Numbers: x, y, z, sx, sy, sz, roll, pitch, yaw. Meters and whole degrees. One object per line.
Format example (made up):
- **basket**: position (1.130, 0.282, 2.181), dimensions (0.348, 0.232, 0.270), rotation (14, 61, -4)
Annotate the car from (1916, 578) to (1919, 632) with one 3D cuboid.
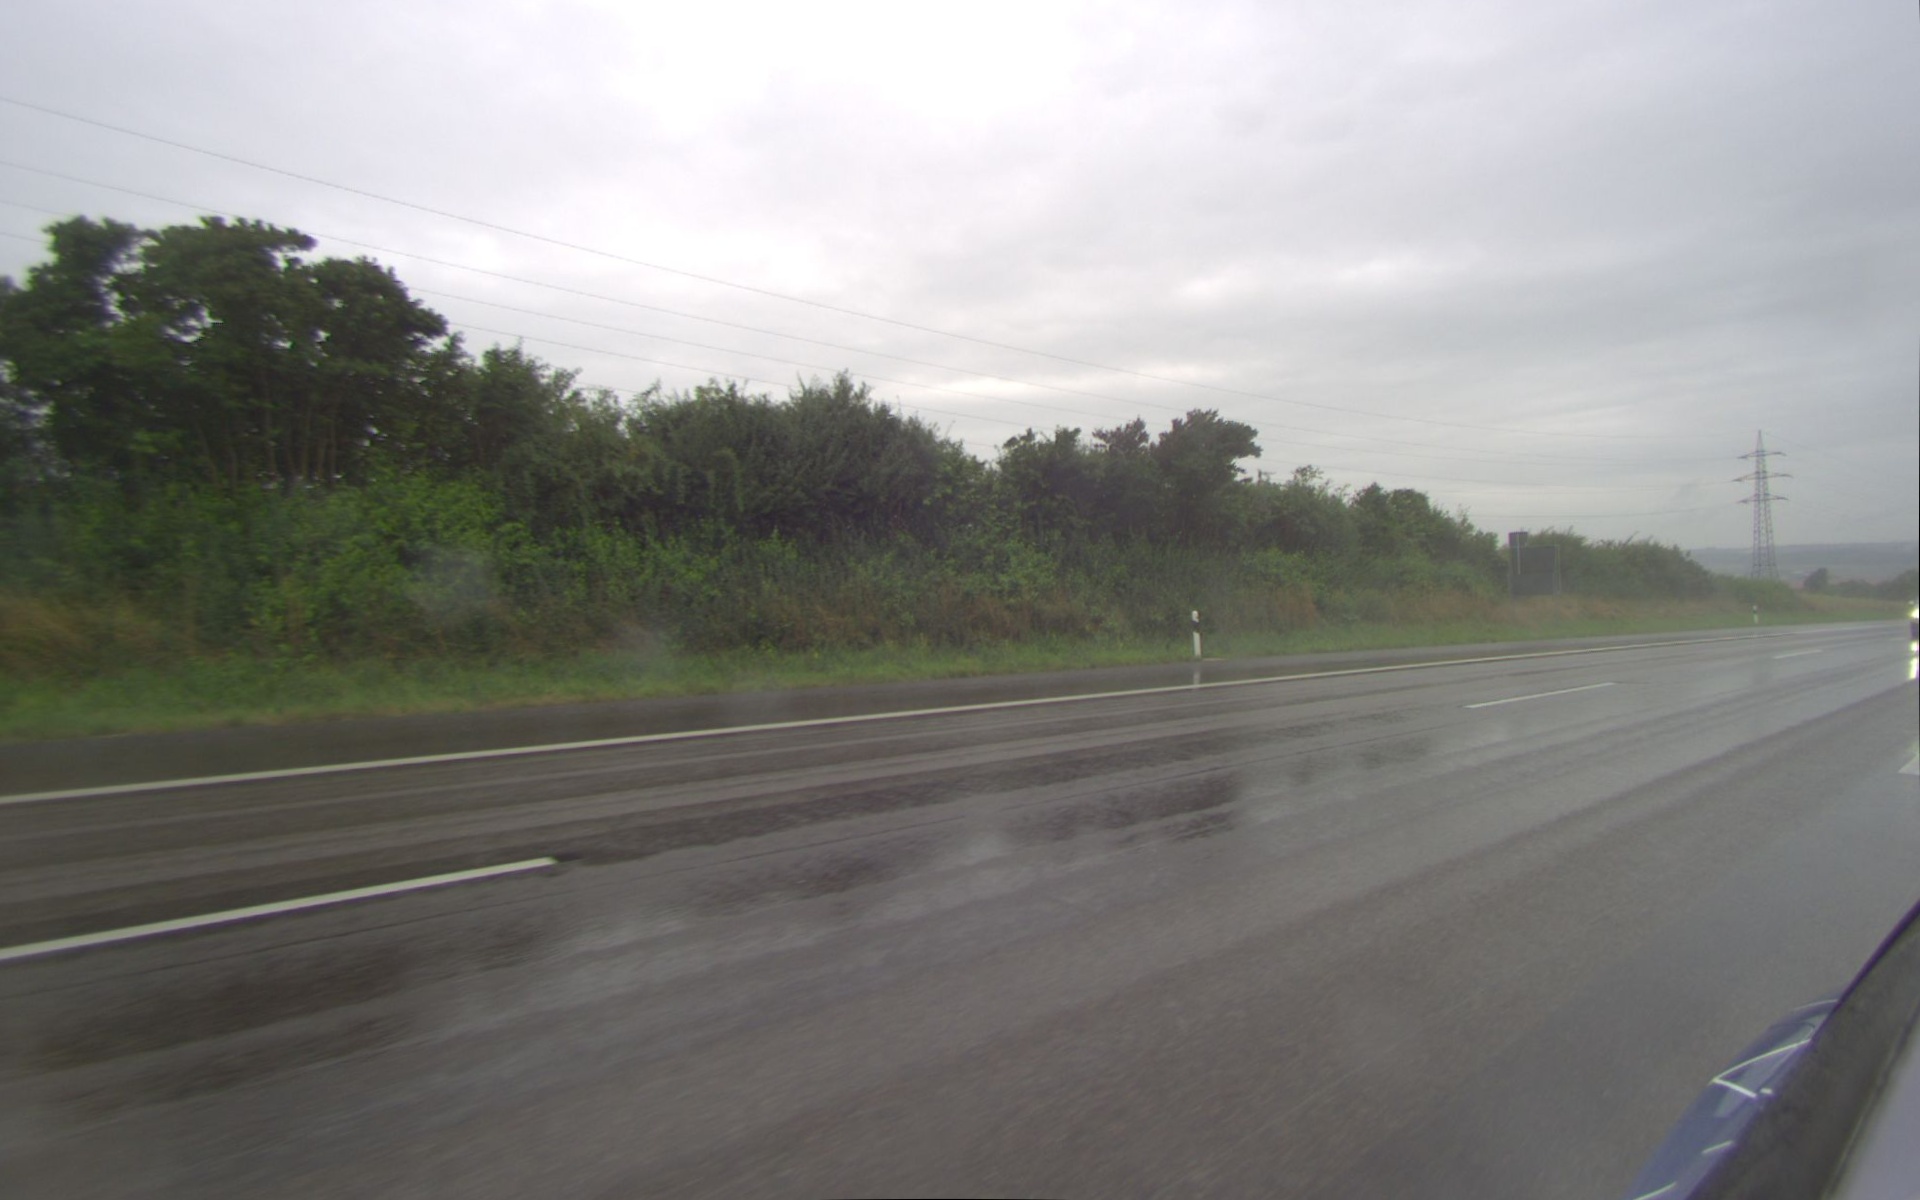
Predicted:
- **car**: position (38.666, 0.191, 39.120), dimensions (3.928, 2.039, 1.997), rotation (0, -1, -40)
